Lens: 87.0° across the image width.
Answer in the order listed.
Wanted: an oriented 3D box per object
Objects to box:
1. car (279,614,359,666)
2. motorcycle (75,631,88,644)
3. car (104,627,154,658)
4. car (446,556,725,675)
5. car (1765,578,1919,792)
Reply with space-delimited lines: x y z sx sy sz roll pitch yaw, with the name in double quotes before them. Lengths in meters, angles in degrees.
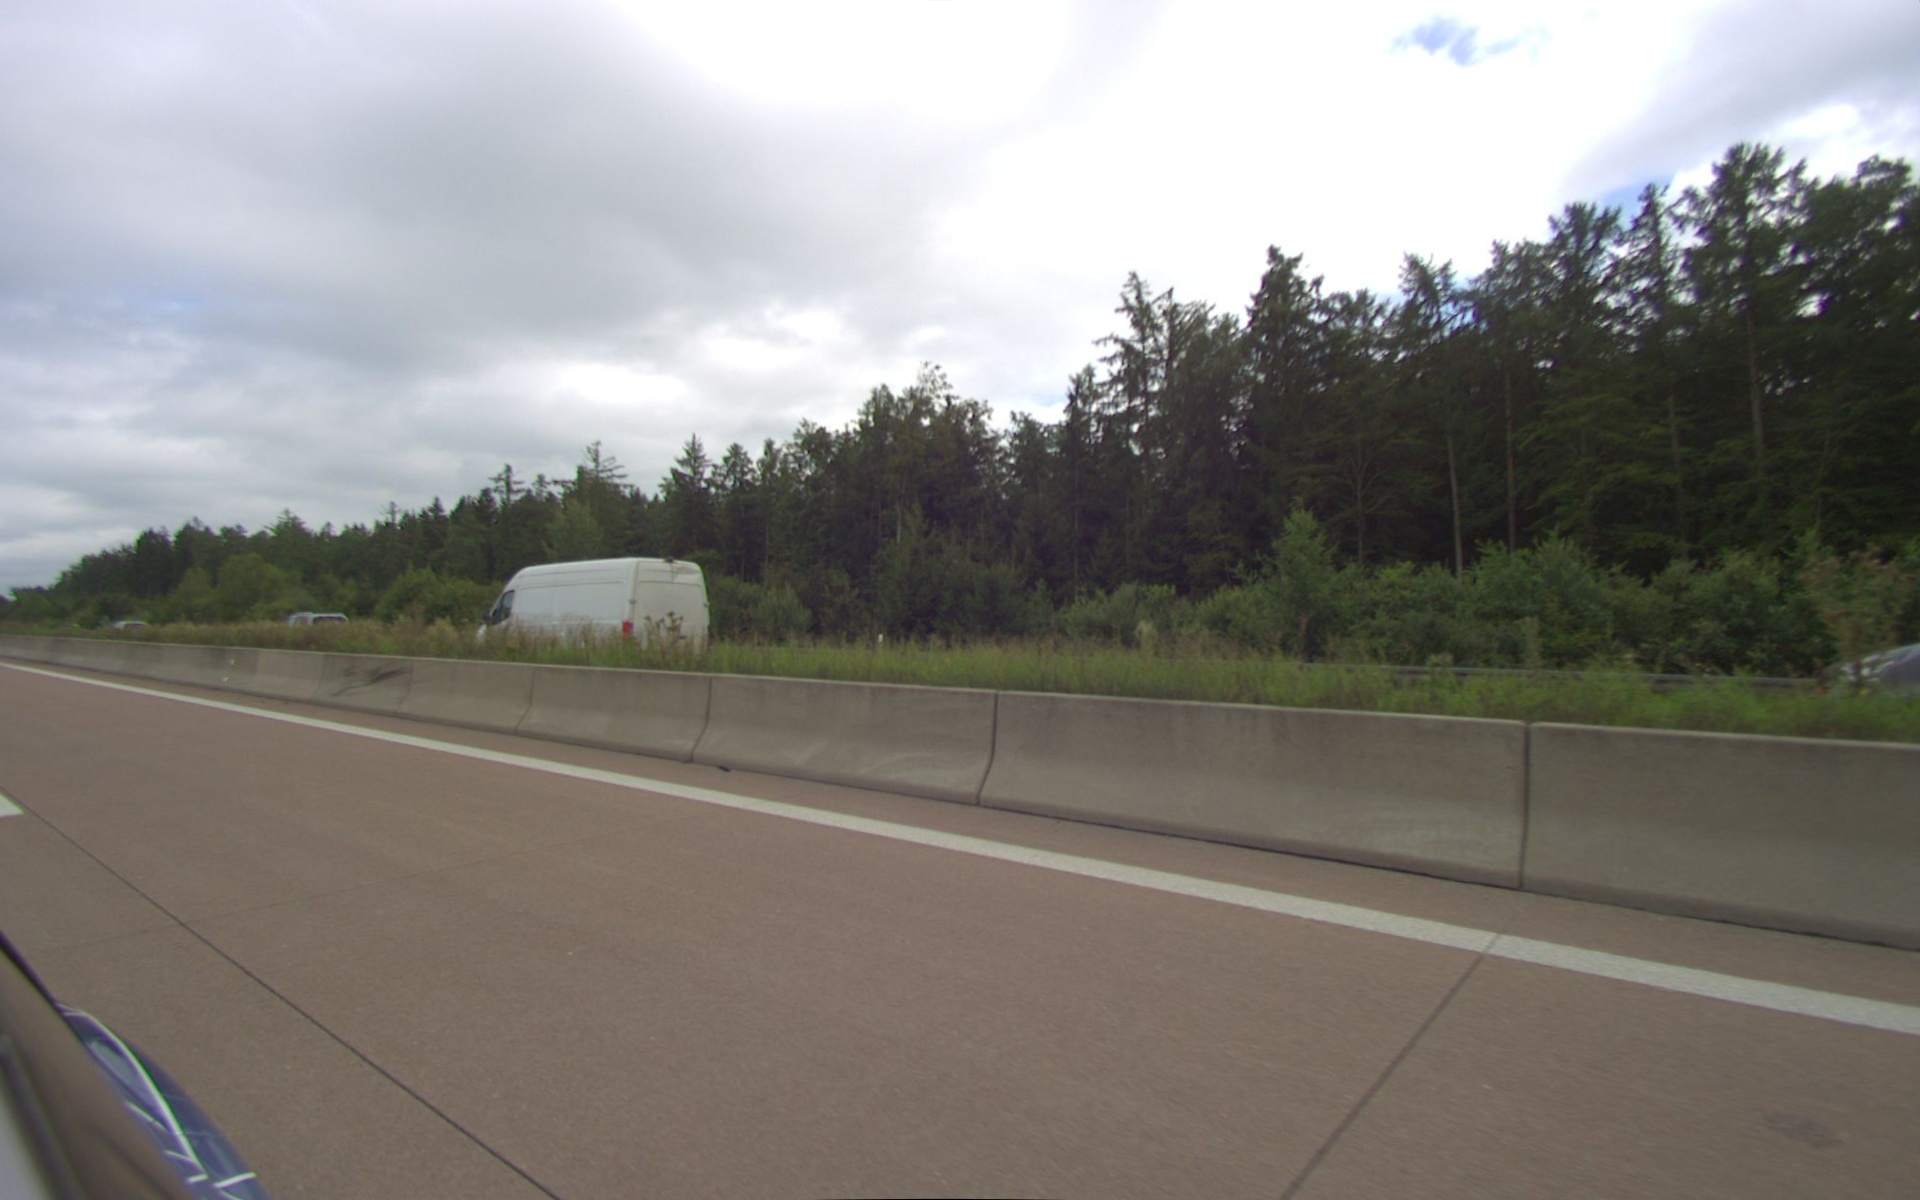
"car" -26.548 1.625 41.879 3.997 1.995 1.655 -1 0 41
"motorcycle" -85.996 3.675 99.053 2.152 1.164 0.594 -1 0 40
"car" -52.015 2.633 63.329 3.750 1.786 1.766 -2 0 40
"car" -8.173 0.322 21.511 7.480 2.157 2.052 -1 0 39
"car" 11.434 0.766 9.199 6.373 2.029 2.200 -1 0 40
